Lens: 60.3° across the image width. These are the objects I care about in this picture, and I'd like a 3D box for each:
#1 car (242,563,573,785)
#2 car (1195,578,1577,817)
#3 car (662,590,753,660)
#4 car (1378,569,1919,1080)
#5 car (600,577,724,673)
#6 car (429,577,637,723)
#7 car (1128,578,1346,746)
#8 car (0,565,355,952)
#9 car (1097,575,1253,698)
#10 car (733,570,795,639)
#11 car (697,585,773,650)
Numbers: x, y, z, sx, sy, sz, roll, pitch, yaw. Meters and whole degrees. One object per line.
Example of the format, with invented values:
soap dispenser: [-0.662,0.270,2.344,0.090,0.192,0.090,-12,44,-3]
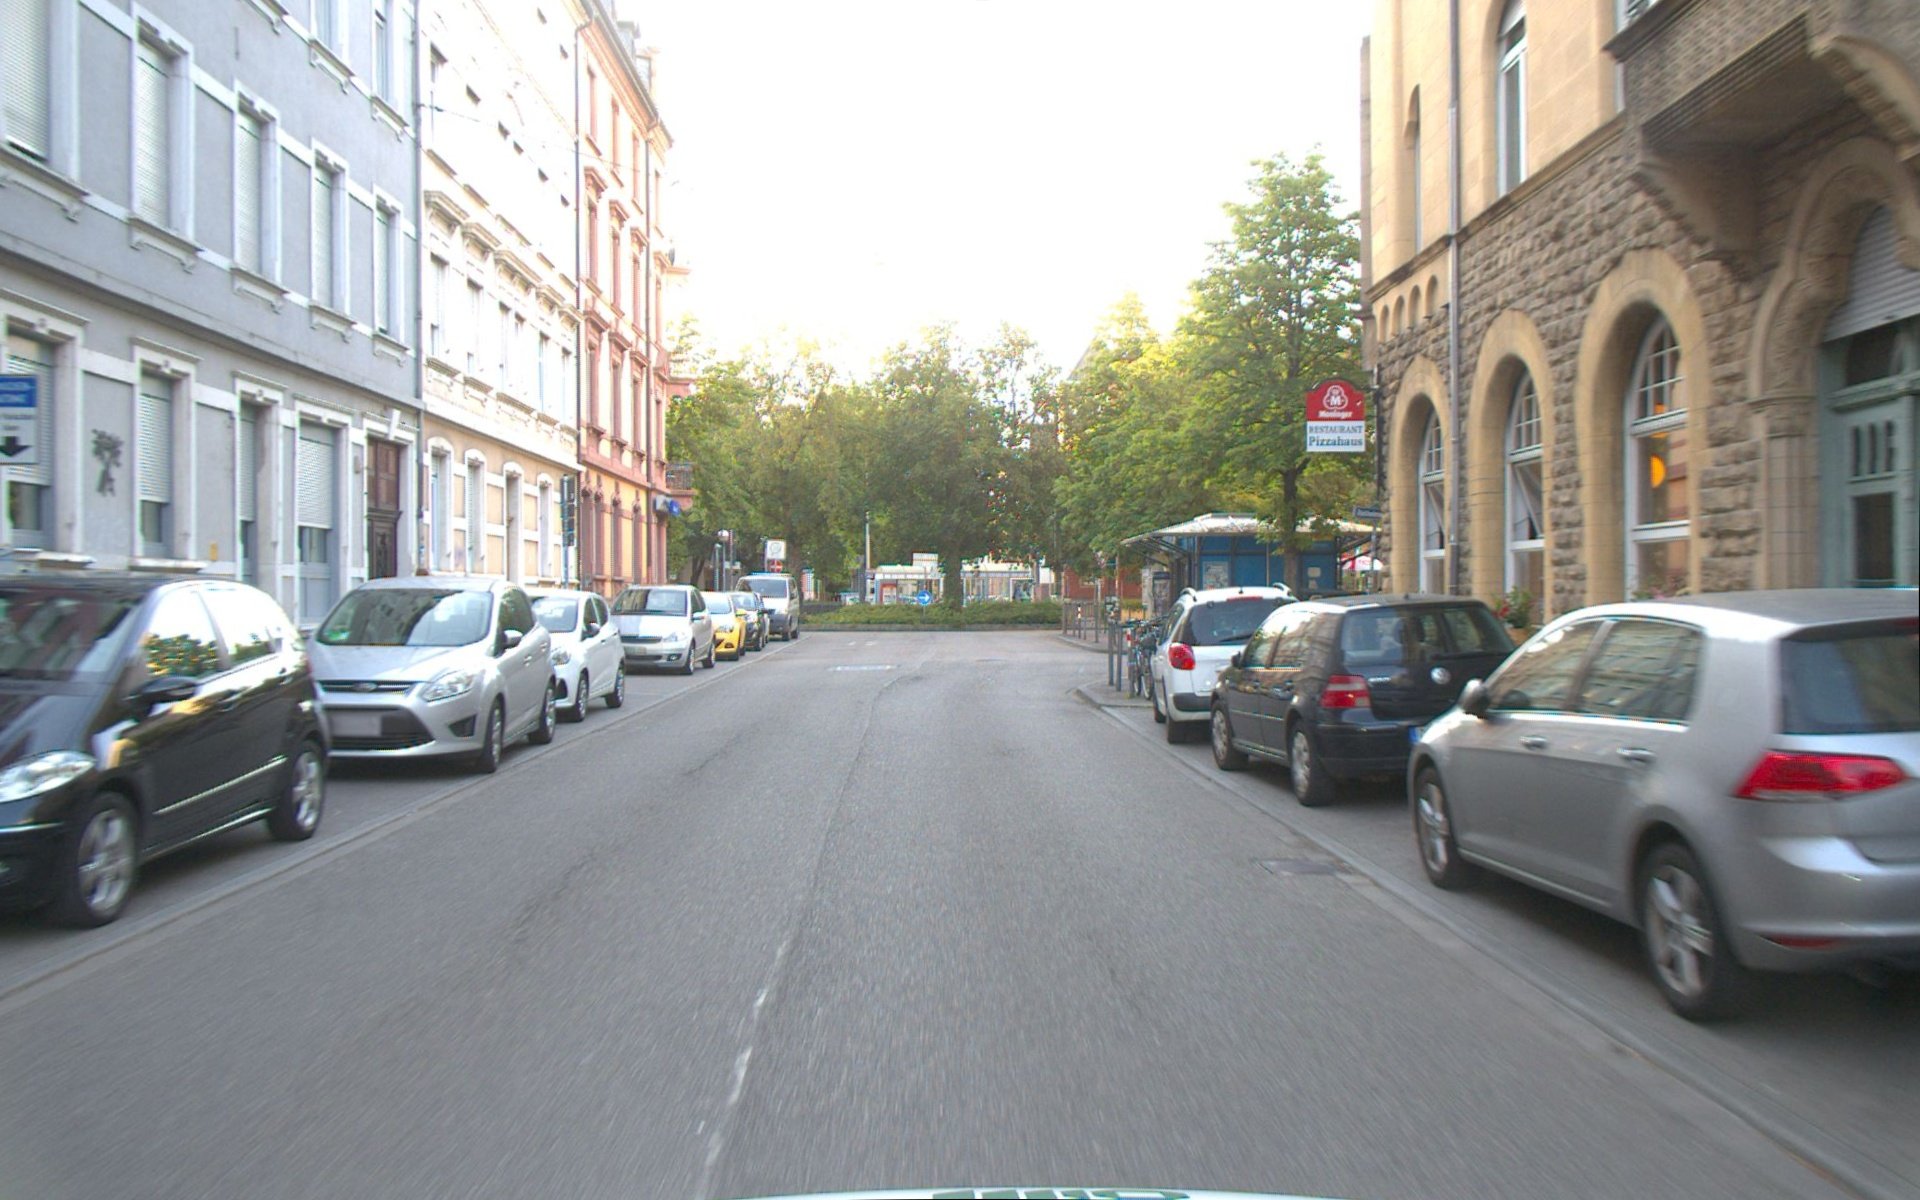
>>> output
car: [-4.741,0.561,14.851,1.808,1.688,4.249,0,0,-4]
car: [3.111,0.636,12.880,1.644,1.481,3.796,-3,0,-5]
car: [-5.620,0.531,37.204,1.665,1.451,4.019,2,0,-4]
car: [3.277,0.656,7.168,1.643,1.481,4.228,-3,0,-2]
car: [-5.508,0.434,30.950,1.664,1.649,4.020,1,0,-2]
car: [-5.083,0.556,20.141,1.664,1.579,3.568,1,0,-2]
car: [2.873,0.583,17.902,1.642,1.527,3.901,-3,0,0]
car: [-4.615,0.633,8.672,1.603,1.593,3.780,1,0,-2]
car: [2.999,0.462,23.774,1.642,1.527,4.018,-3,0,0]
car: [-6.025,0.123,51.273,1.776,2.011,4.181,1,0,-6]
car: [-5.822,0.422,43.130,1.665,1.579,4.019,1,0,-4]
